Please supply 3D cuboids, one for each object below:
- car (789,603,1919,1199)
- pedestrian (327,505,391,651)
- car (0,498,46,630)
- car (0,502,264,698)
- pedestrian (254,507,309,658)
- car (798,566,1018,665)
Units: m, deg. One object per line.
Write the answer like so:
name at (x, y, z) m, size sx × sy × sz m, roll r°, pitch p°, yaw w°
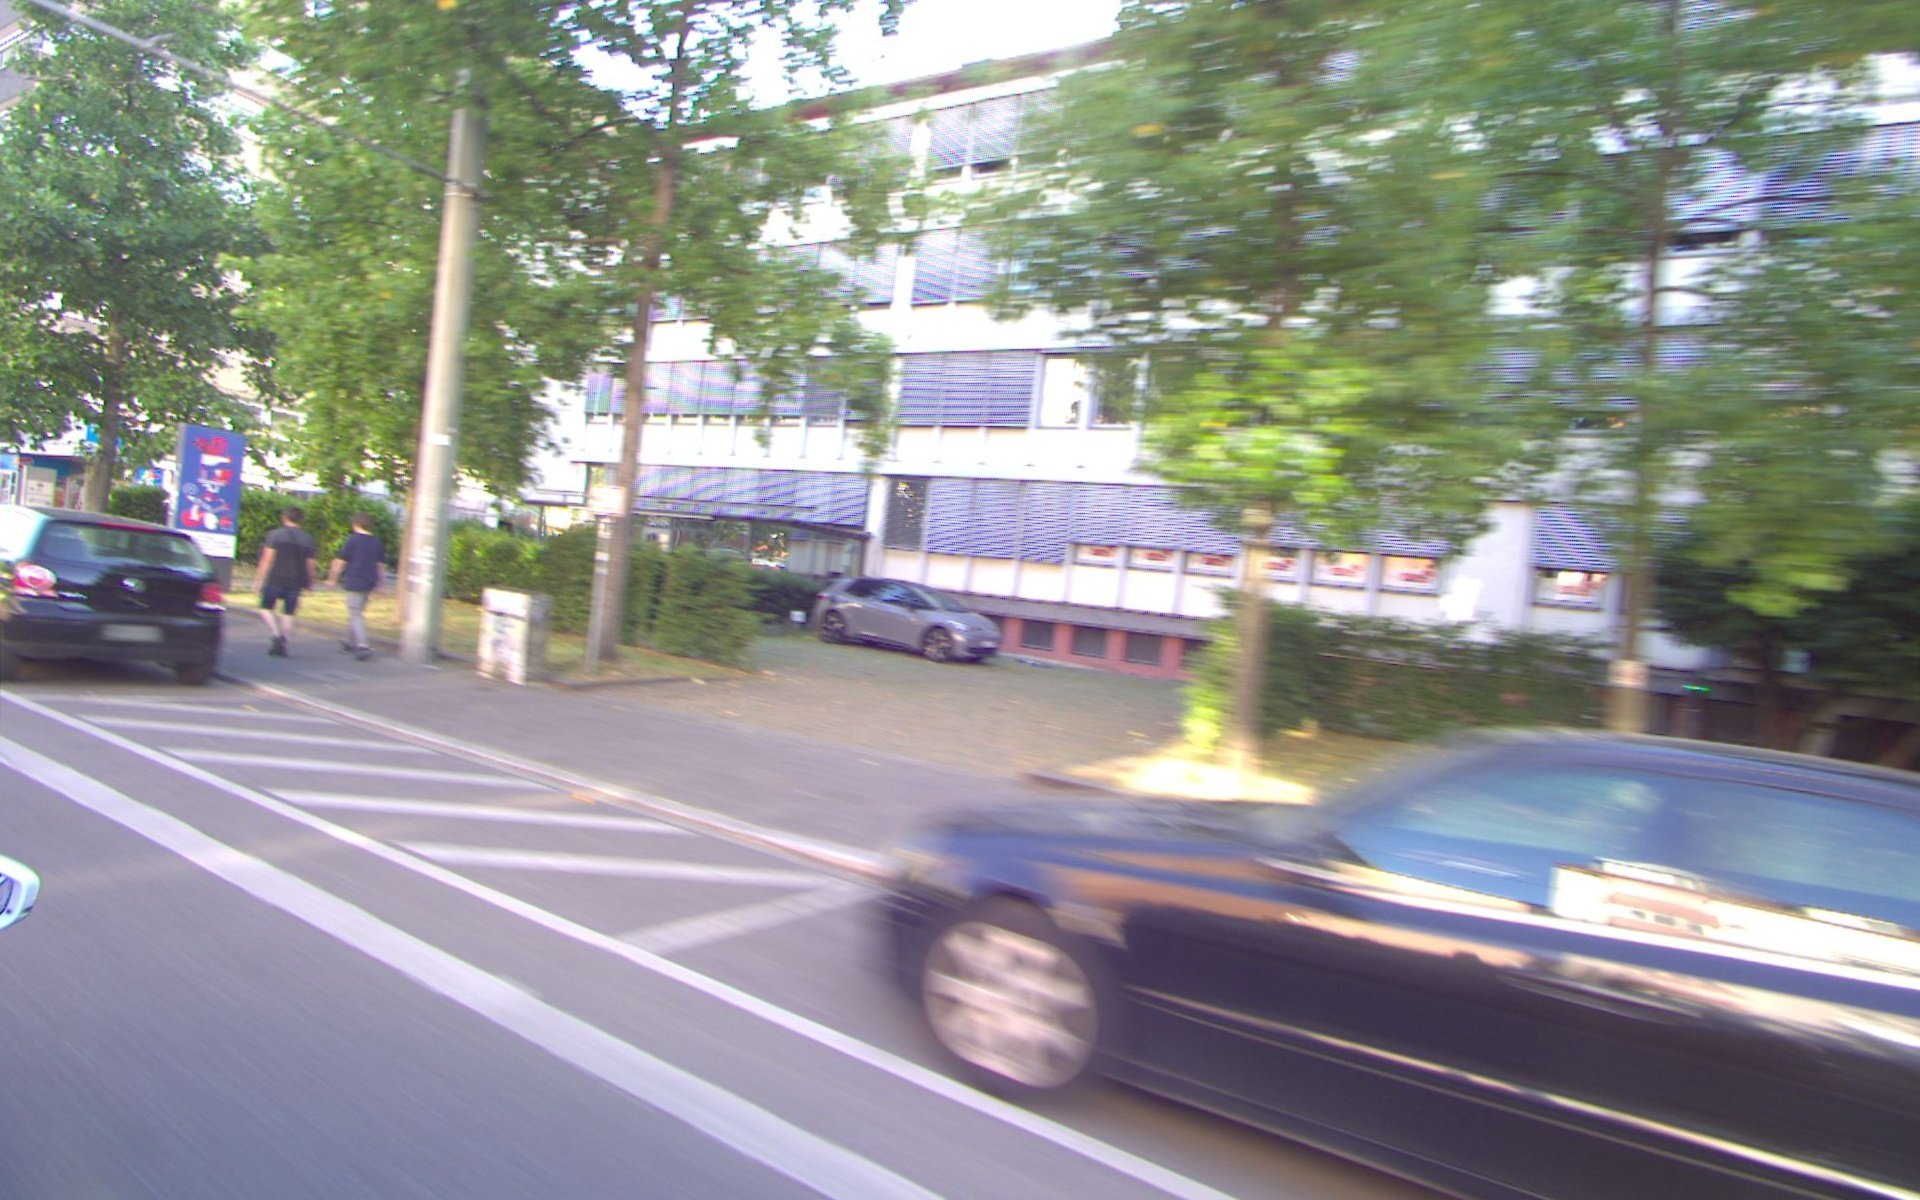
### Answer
car at (1.858, 1.080, 3.193) m, size 4.596 × 1.444 × 1.719 m, roll 8°, pitch 0°, yaw 31°
pedestrian at (-7.459, -0.273, 12.478) m, size 0.496 × 1.733 × 0.448 m, roll 4°, pitch 5°, yaw -40°
car at (-12.985, -0.657, 12.259) m, size 3.904 × 1.491 × 1.623 m, roll 7°, pitch -1°, yaw 32°
car at (-8.493, -0.101, 9.509) m, size 3.918 × 1.449 × 1.623 m, roll 7°, pitch 0°, yaw 32°
pedestrian at (-8.046, -0.205, 11.928) m, size 0.424 × 1.734 × 0.448 m, roll 2°, pitch 5°, yaw -40°
car at (-1.168, 0.329, 21.926) m, size 4.361 × 1.513 × 1.868 m, roll 8°, pitch 2°, yaw 30°
